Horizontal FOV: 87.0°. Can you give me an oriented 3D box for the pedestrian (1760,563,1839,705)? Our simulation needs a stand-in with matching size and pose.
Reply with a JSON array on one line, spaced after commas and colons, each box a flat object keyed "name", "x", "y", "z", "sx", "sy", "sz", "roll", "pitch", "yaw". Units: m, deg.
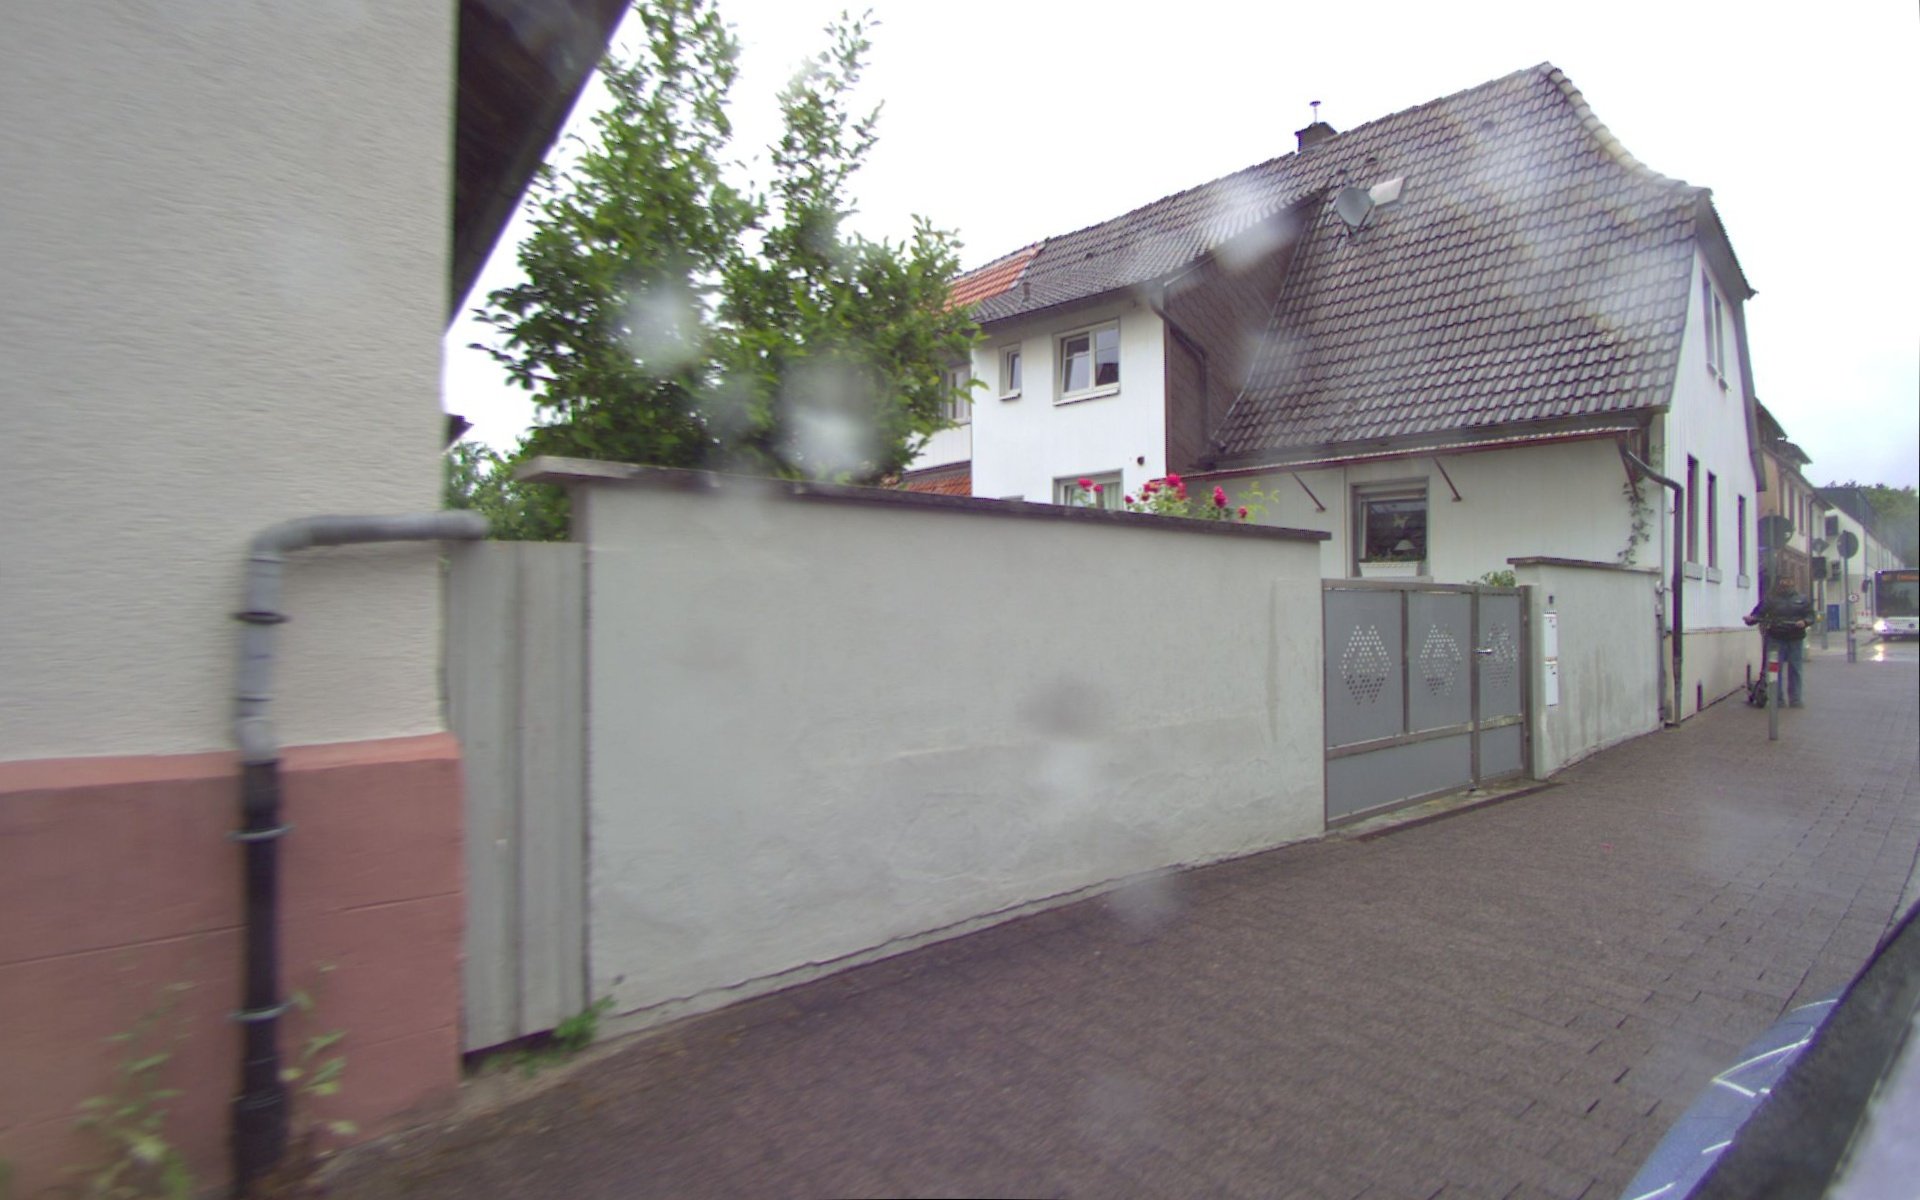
[{"name": "pedestrian", "x": 10.807, "y": 0.408, "z": 13.033, "sx": 0.694, "sy": 1.754, "sz": 0.808, "roll": 1, "pitch": 1, "yaw": 45}]

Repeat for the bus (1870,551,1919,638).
[{"name": "bus", "x": 43.609, "y": -0.287, "z": 44.582, "sx": 13.627, "sy": 3.455, "sz": 3.438, "roll": -1, "pitch": -1, "yaw": -41}]
